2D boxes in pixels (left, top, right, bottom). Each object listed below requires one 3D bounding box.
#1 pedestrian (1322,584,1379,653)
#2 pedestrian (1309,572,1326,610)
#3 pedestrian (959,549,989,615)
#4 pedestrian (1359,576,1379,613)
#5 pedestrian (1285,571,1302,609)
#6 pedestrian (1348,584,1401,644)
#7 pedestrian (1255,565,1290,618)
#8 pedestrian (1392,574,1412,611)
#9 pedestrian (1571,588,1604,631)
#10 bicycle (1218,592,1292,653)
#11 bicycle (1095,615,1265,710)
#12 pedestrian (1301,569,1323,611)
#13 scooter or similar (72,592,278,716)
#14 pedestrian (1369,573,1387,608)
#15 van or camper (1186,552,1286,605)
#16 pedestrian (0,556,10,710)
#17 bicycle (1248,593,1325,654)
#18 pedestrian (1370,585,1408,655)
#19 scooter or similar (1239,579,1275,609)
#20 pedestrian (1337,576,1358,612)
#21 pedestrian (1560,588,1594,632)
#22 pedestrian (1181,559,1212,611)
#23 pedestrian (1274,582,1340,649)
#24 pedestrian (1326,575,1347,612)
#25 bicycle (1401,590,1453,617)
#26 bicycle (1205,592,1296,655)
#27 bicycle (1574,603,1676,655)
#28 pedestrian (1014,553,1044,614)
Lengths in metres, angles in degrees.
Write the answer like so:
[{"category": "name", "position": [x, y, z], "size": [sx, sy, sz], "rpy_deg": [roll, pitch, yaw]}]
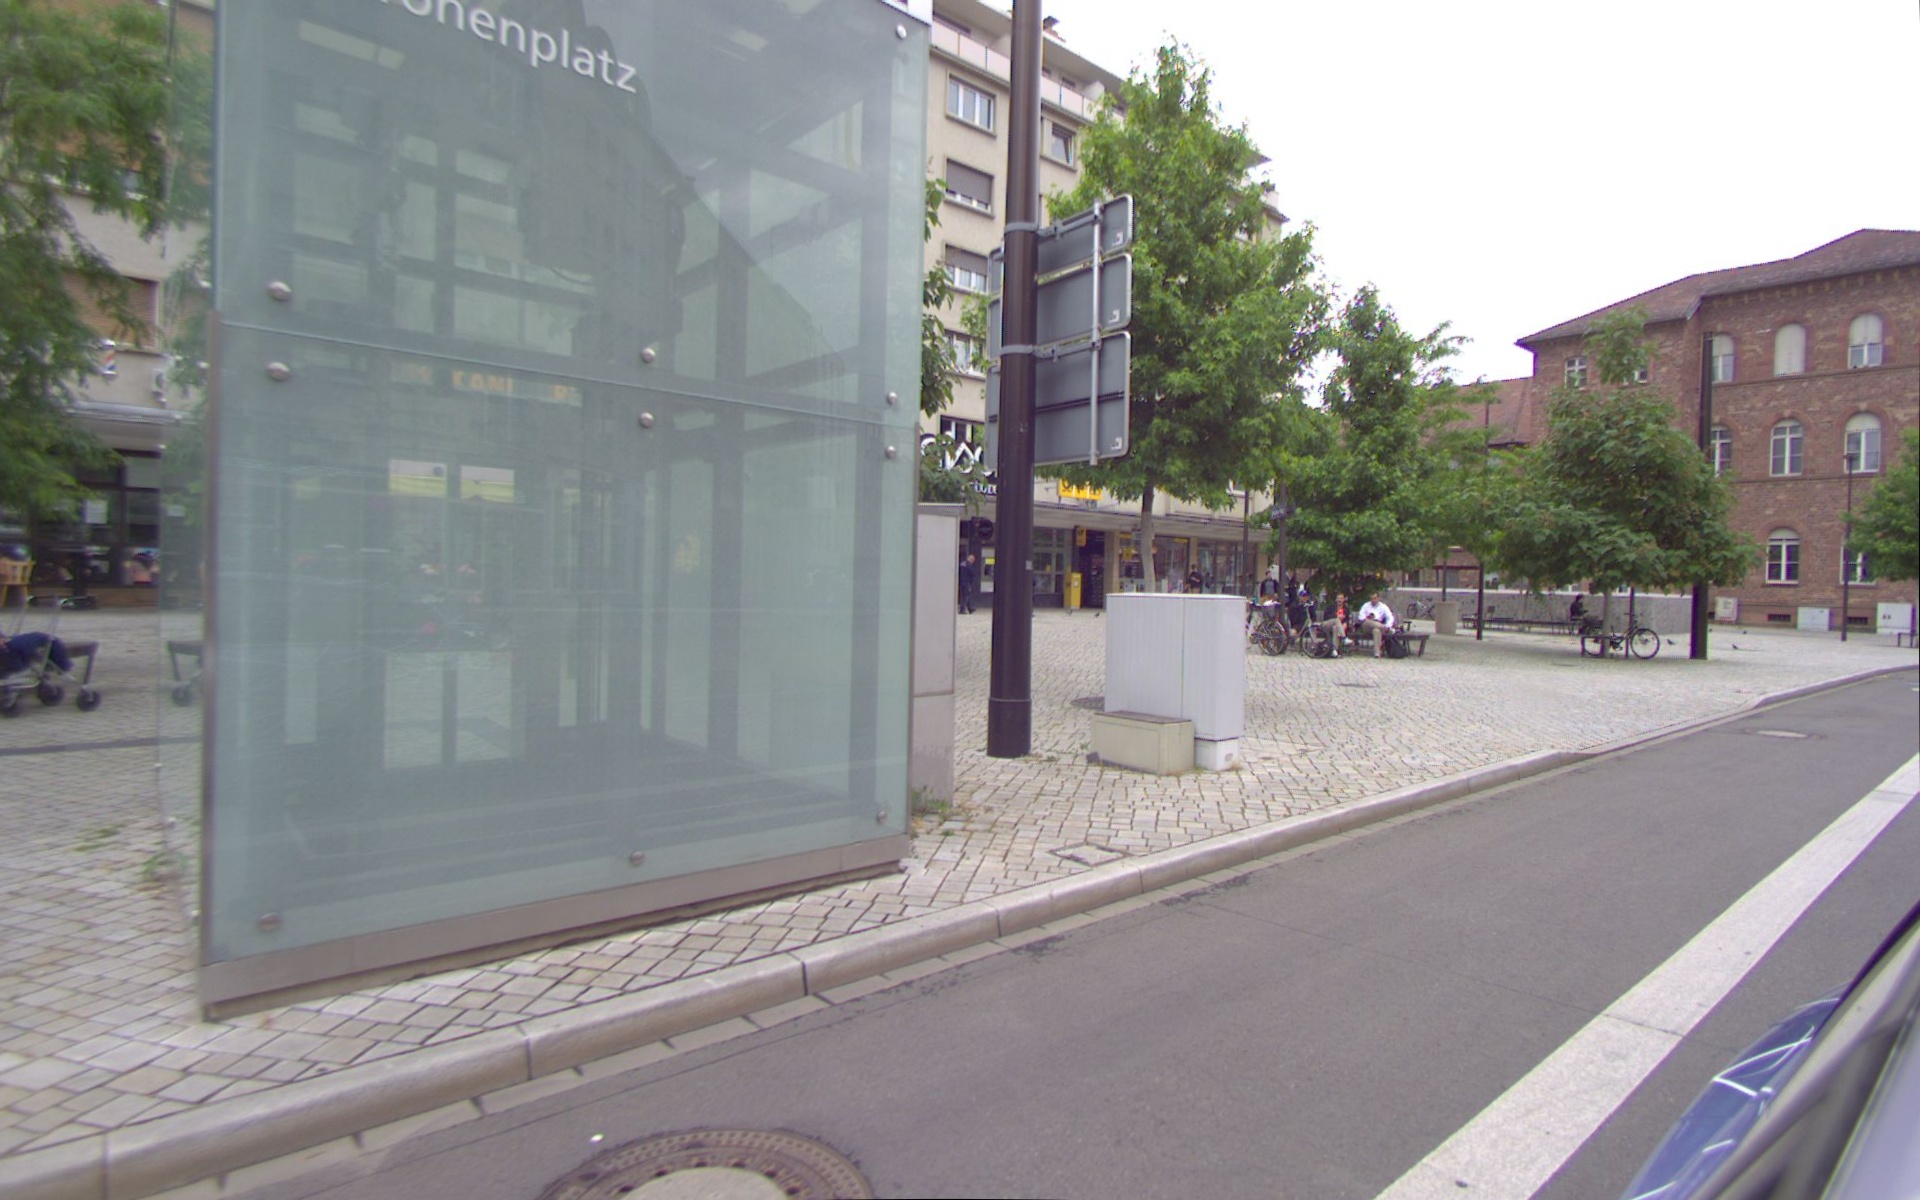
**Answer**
[{"category": "pedestrian", "position": [8.010, 0.375, 20.748], "size": [0.900, 1.383, 0.631], "rpy_deg": [1, 0, -24]}, {"category": "pedestrian", "position": [15.320, -0.388, 43.412], "size": [0.583, 1.606, 0.640], "rpy_deg": [3, 0, 17]}, {"category": "pedestrian", "position": [0.419, -0.529, 30.010], "size": [0.836, 1.909, 0.776], "rpy_deg": [1, 0, -2]}, {"category": "pedestrian", "position": [18.817, -0.252, 46.564], "size": [0.579, 1.691, 0.515], "rpy_deg": [2, 0, -19]}, {"category": "pedestrian", "position": [14.362, -0.420, 43.576], "size": [0.583, 1.606, 0.640], "rpy_deg": [3, 0, 17]}, {"category": "pedestrian", "position": [9.845, 0.327, 24.028], "size": [1.385, 1.383, 0.629], "rpy_deg": [0, 0, -42]}, {"category": "pedestrian", "position": [10.957, -0.291, 35.450], "size": [0.769, 1.794, 1.052], "rpy_deg": [3, 2, 38]}, {"category": "pedestrian", "position": [20.743, -0.357, 47.517], "size": [0.579, 1.691, 0.515], "rpy_deg": [2, 0, -20]}, {"category": "pedestrian", "position": [22.436, 0.321, 36.182], "size": [0.770, 1.473, 0.764], "rpy_deg": [4, 3, 20]}, {"category": "bicycle", "position": [6.005, 0.439, 20.698], "size": [0.467, 1.124, 1.609], "rpy_deg": [1, 2, -26]}, {"category": "bicycle", "position": [2.459, 0.698, 11.386], "size": [1.718, 0.990, 0.661], "rpy_deg": [1, 1, -12]}, {"category": "pedestrian", "position": [15.162, -0.434, 43.618], "size": [0.630, 1.790, 0.592], "rpy_deg": [3, 0, -5]}, {"category": "scooter or similar", "position": [-7.165, 0.453, 9.340], "size": [0.711, 0.960, 1.594], "rpy_deg": [2, 2, -3]}, {"category": "pedestrian", "position": [21.147, -0.480, 51.224], "size": [0.661, 1.780, 0.622], "rpy_deg": [0, 0, 40]}, {"category": "van or camper", "position": [15.035, -1.114, 54.934], "size": [6.445, 2.754, 1.997], "rpy_deg": [0, 0, -41]}, {"category": "pedestrian", "position": [-8.485, 0.296, 8.408], "size": [0.719, 1.313, 1.048], "rpy_deg": [1, 3, -35]}, {"category": "bicycle", "position": [6.608, 0.455, 20.564], "size": [0.467, 1.124, 1.609], "rpy_deg": [1, 2, -26]}, {"category": "pedestrian", "position": [8.669, 0.398, 20.442], "size": [0.625, 1.383, 0.680], "rpy_deg": [0, 0, 31]}, {"category": "scooter or similar", "position": [13.057, -0.265, 44.495], "size": [1.406, 1.218, 0.503], "rpy_deg": [1, 2, -17]}, {"category": "pedestrian", "position": [18.436, -0.299, 48.202], "size": [0.579, 1.691, 0.645], "rpy_deg": [2, 0, -20]}, {"category": "pedestrian", "position": [21.673, 0.335, 35.550], "size": [0.770, 1.473, 0.764], "rpy_deg": [4, 3, 20]}, {"category": "pedestrian", "position": [9.026, -0.557, 38.613], "size": [0.767, 1.925, 1.055], "rpy_deg": [3, 2, 31]}, {"category": "pedestrian", "position": [7.286, 0.321, 21.236], "size": [1.253, 1.383, 0.545], "rpy_deg": [1, 0, -23]}, {"category": "pedestrian", "position": [17.674, -0.309, 47.477], "size": [0.579, 1.691, 0.644], "rpy_deg": [2, 0, -25]}, {"category": "bicycle", "position": [20.340, 0.148, 44.123], "size": [0.462, 1.077, 2.028], "rpy_deg": [1, 3, -41]}, {"category": "bicycle", "position": [5.748, 0.441, 20.138], "size": [0.467, 1.124, 2.045], "rpy_deg": [1, 2, -25]}, {"category": "bicycle", "position": [15.667, 0.661, 23.891], "size": [0.632, 1.137, 1.922], "rpy_deg": [1, 0, -30]}, {"category": "pedestrian", "position": [2.072, -0.504, 30.490], "size": [0.704, 1.773, 0.776], "rpy_deg": [3, 2, -2]}]
